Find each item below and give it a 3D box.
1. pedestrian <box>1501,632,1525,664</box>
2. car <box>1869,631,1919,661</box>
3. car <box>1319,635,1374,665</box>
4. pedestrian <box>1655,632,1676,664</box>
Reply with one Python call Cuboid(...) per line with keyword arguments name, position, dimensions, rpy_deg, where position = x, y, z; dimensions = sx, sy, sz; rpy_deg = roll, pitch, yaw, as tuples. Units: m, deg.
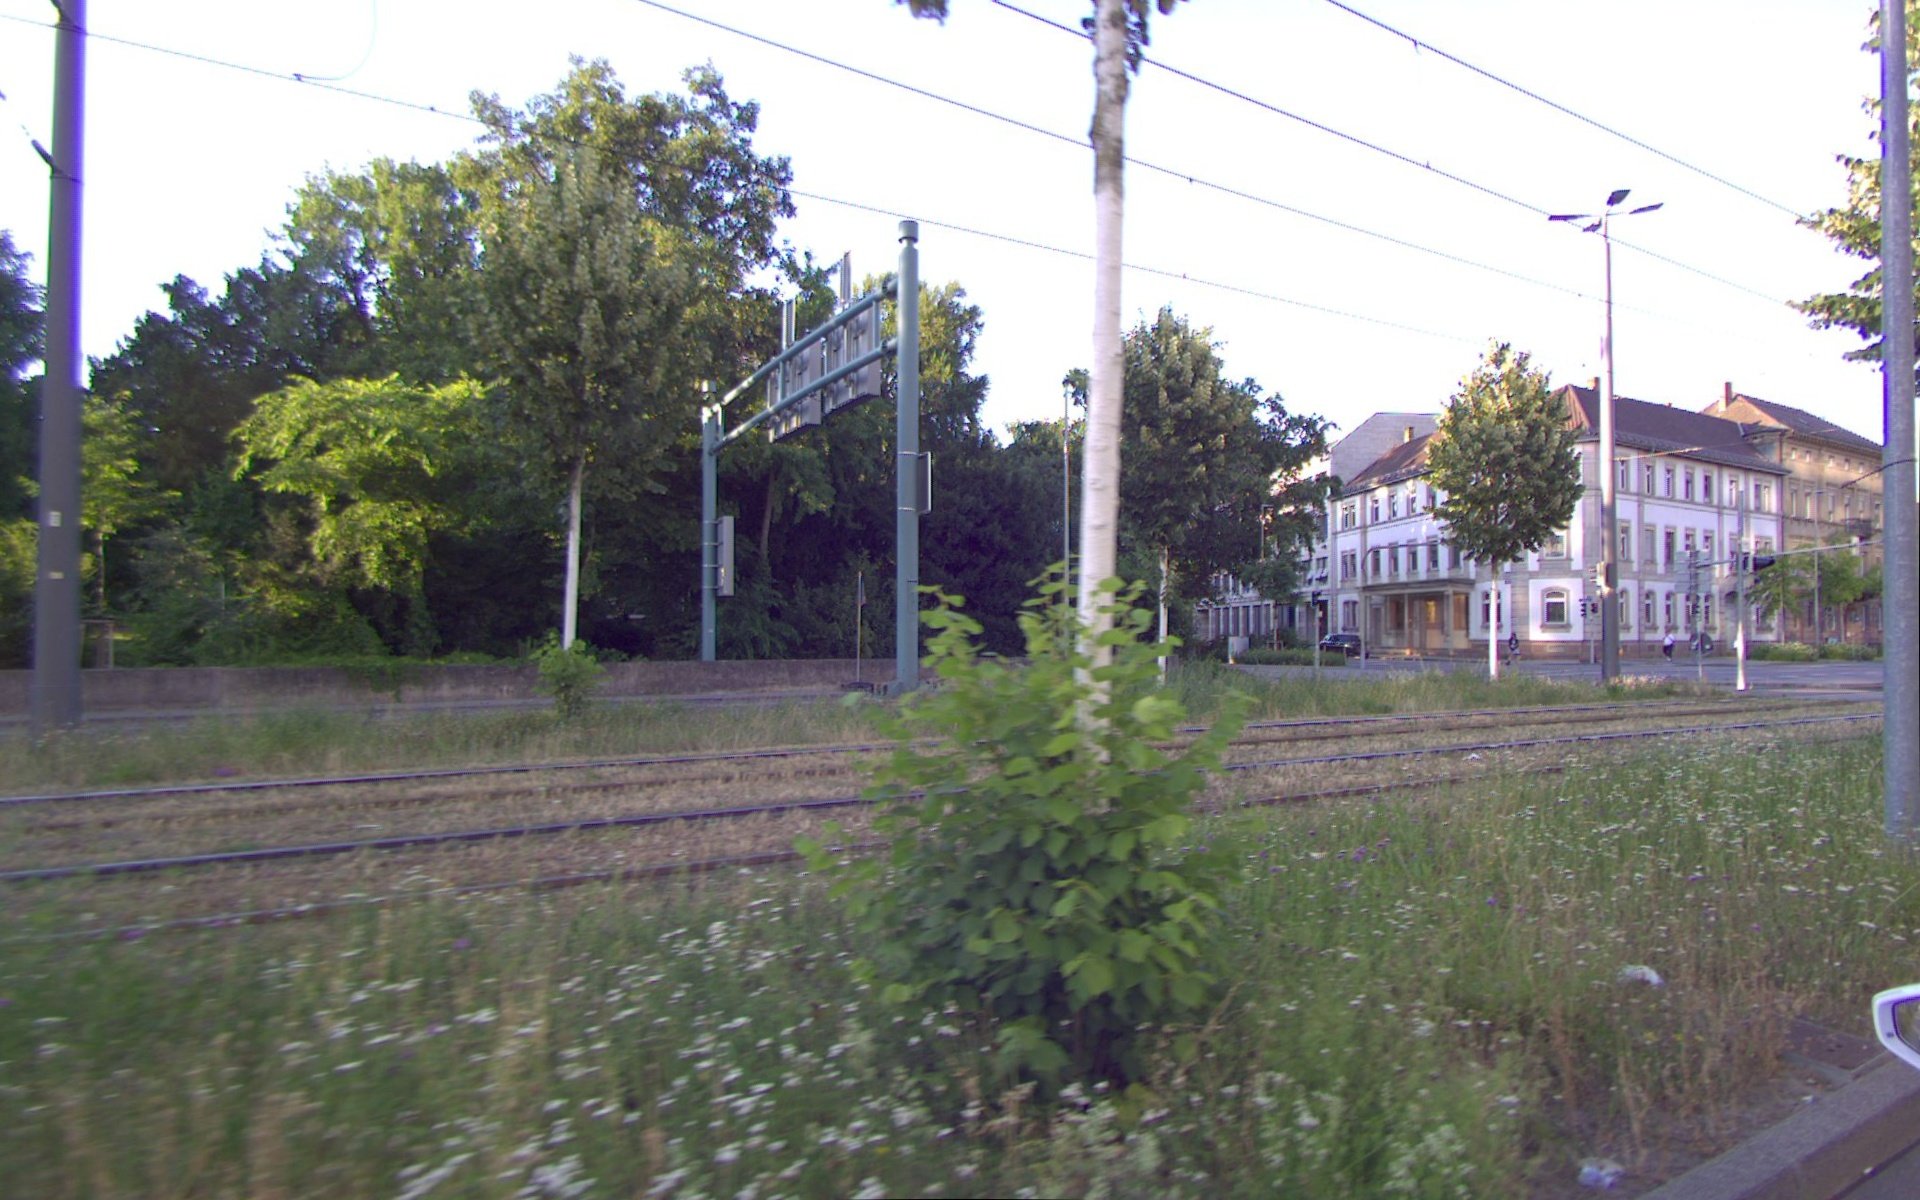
Cuboid(name="pedestrian", position=(26.569, 2.296, 48.260), dimensions=(0.925, 1.478, 0.601), rpy_deg=(1, 0, -29))
Cuboid(name="car", position=(52.551, 2.559, 55.692), dimensions=(4.074, 1.601, 1.985), rpy_deg=(1, -3, -29))
Cuboid(name="car", position=(23.256, 2.992, 60.587), dimensions=(1.755, 1.576, 4.000), rpy_deg=(1, 0, 0))
Cuboid(name="pedestrian", position=(39.092, 2.659, 55.625), dimensions=(0.804, 1.738, 0.698), rpy_deg=(1, 1, -34))
